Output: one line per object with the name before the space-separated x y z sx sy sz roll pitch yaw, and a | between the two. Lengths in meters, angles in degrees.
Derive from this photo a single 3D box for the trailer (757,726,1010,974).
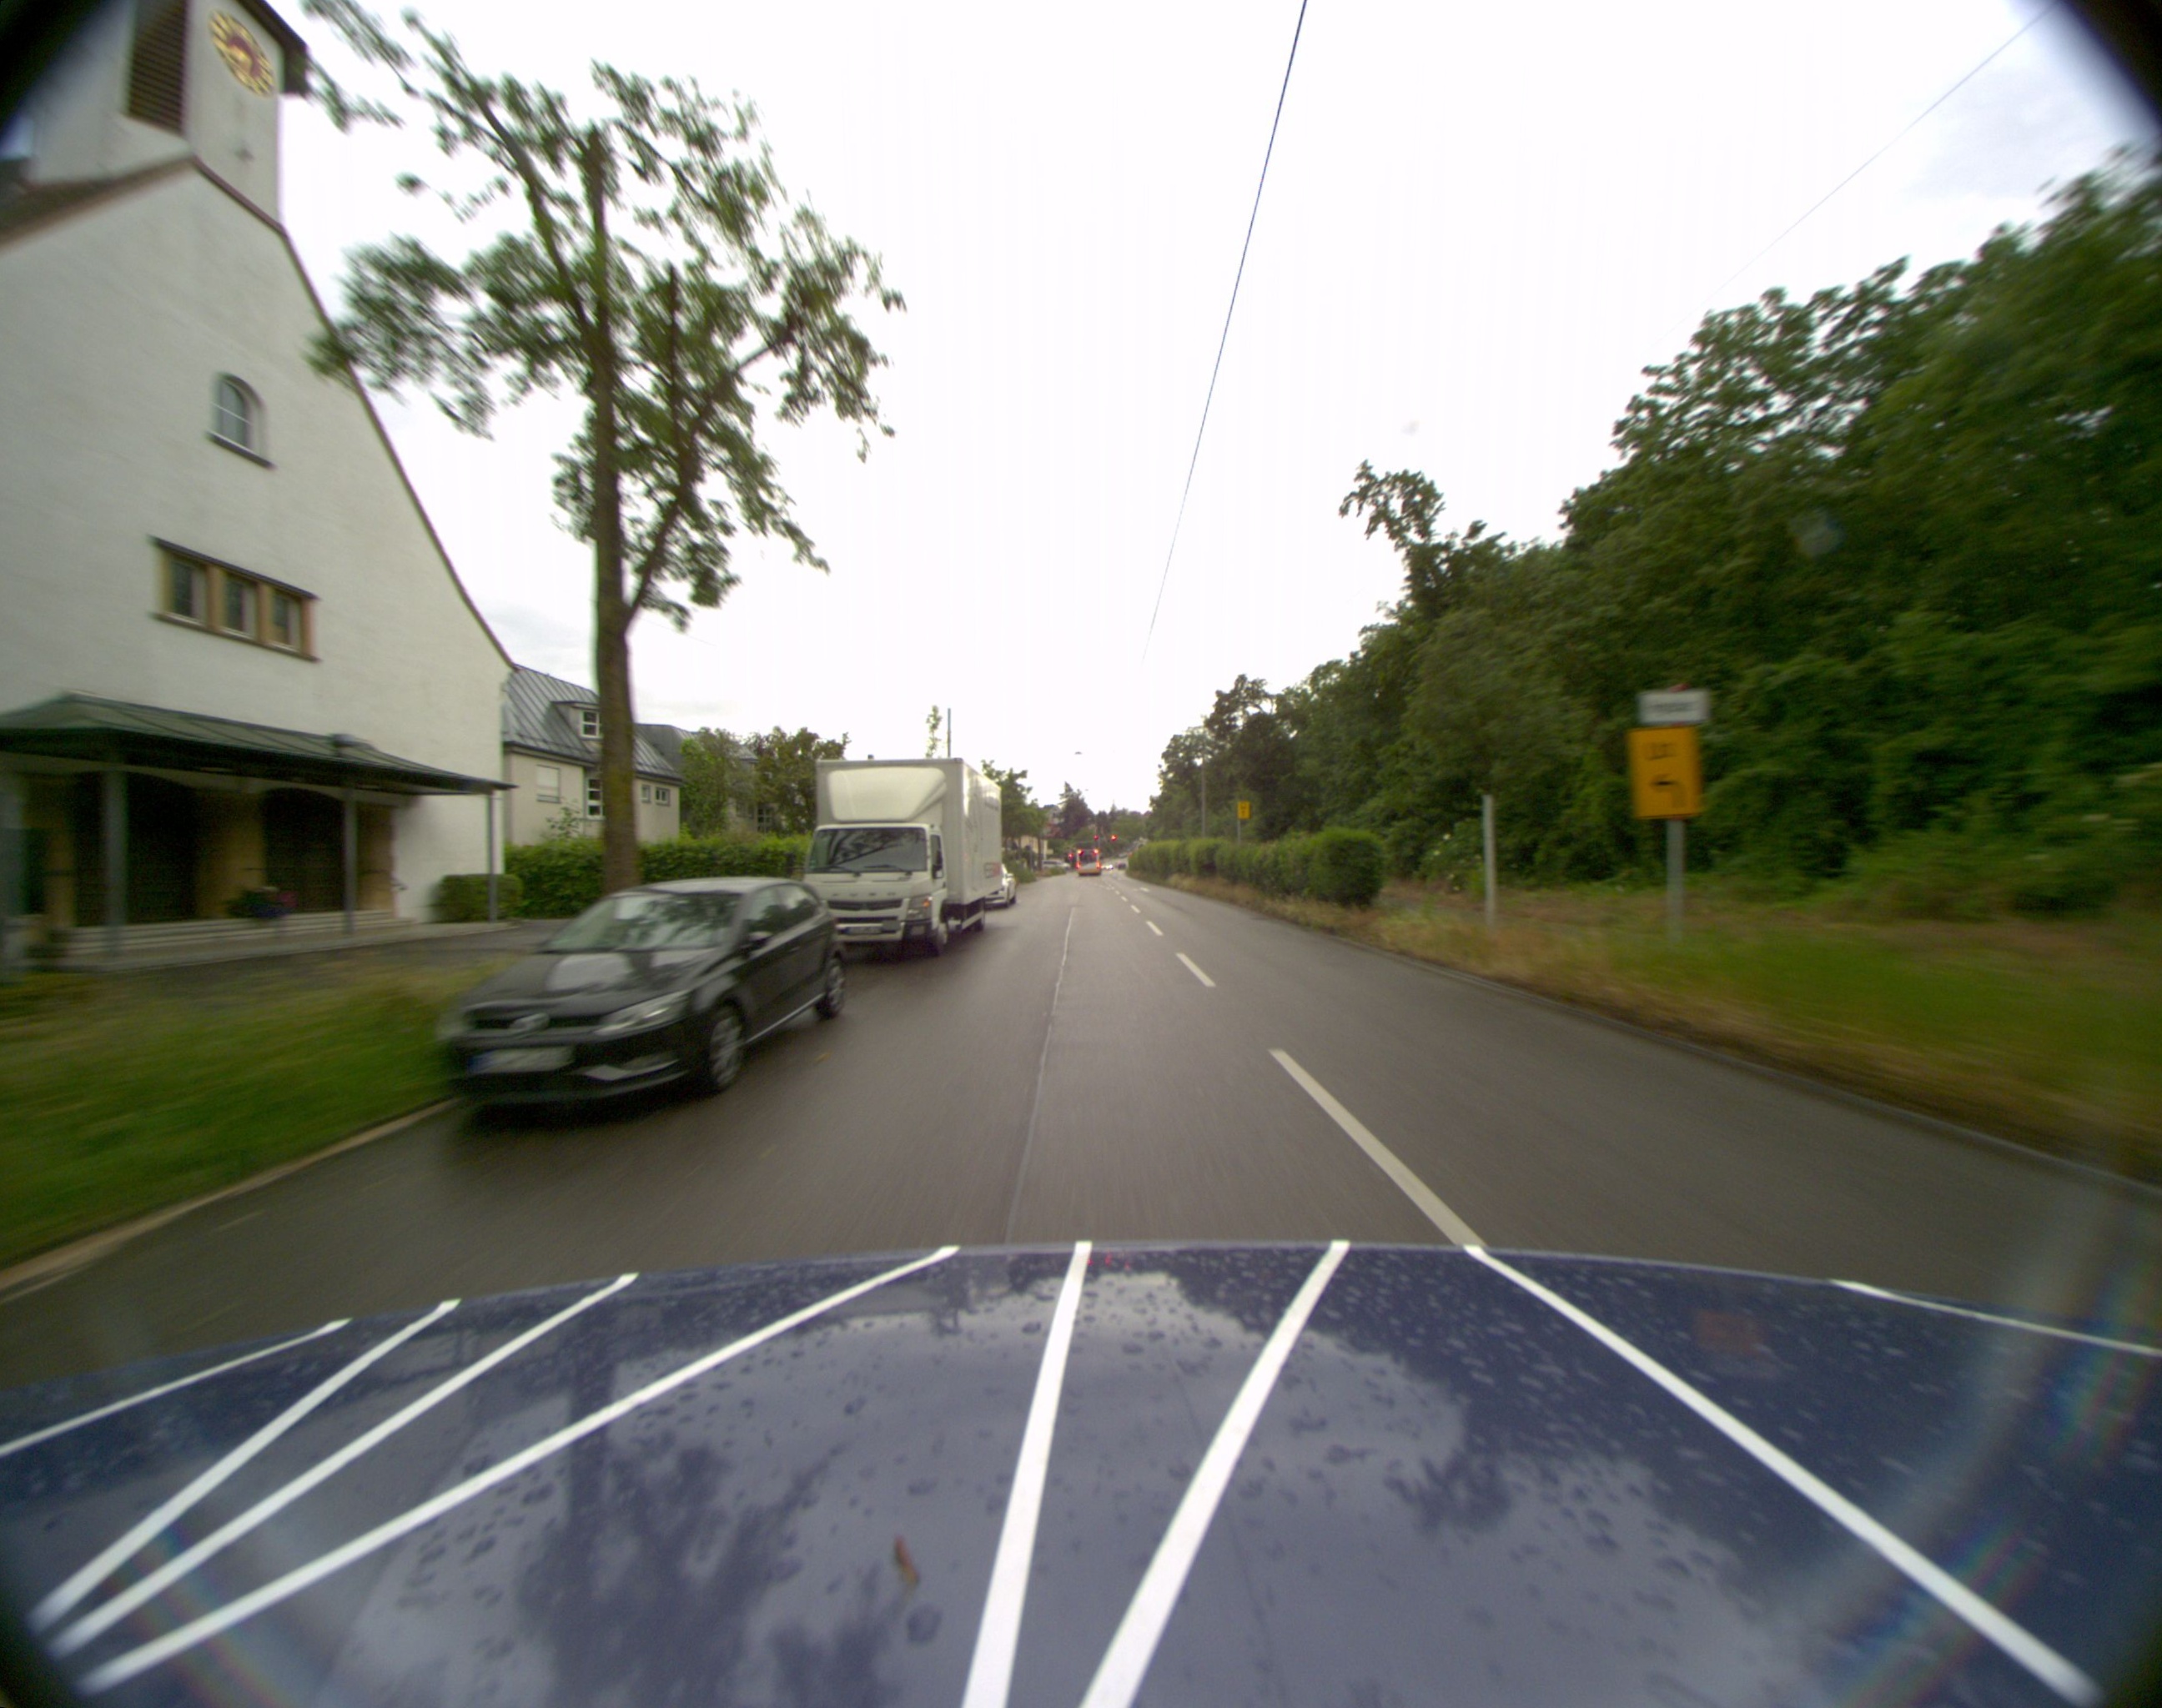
trailer | -3.255 -0.054 15.175 2.741 3.488 8.247 -3 0 0

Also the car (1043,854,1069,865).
car | -4.999 1.162 152.864 5.049 1.967 2.001 -2 0 5

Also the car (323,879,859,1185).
car | -3.242 1.035 6.124 1.645 1.455 4.000 -3 0 0

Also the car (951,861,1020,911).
car | -3.174 1.026 26.188 1.801 1.465 4.548 -3 0 -1

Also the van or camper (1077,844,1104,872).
van or camper | 1.166 0.474 90.711 2.862 3.160 6.851 -2 0 3
